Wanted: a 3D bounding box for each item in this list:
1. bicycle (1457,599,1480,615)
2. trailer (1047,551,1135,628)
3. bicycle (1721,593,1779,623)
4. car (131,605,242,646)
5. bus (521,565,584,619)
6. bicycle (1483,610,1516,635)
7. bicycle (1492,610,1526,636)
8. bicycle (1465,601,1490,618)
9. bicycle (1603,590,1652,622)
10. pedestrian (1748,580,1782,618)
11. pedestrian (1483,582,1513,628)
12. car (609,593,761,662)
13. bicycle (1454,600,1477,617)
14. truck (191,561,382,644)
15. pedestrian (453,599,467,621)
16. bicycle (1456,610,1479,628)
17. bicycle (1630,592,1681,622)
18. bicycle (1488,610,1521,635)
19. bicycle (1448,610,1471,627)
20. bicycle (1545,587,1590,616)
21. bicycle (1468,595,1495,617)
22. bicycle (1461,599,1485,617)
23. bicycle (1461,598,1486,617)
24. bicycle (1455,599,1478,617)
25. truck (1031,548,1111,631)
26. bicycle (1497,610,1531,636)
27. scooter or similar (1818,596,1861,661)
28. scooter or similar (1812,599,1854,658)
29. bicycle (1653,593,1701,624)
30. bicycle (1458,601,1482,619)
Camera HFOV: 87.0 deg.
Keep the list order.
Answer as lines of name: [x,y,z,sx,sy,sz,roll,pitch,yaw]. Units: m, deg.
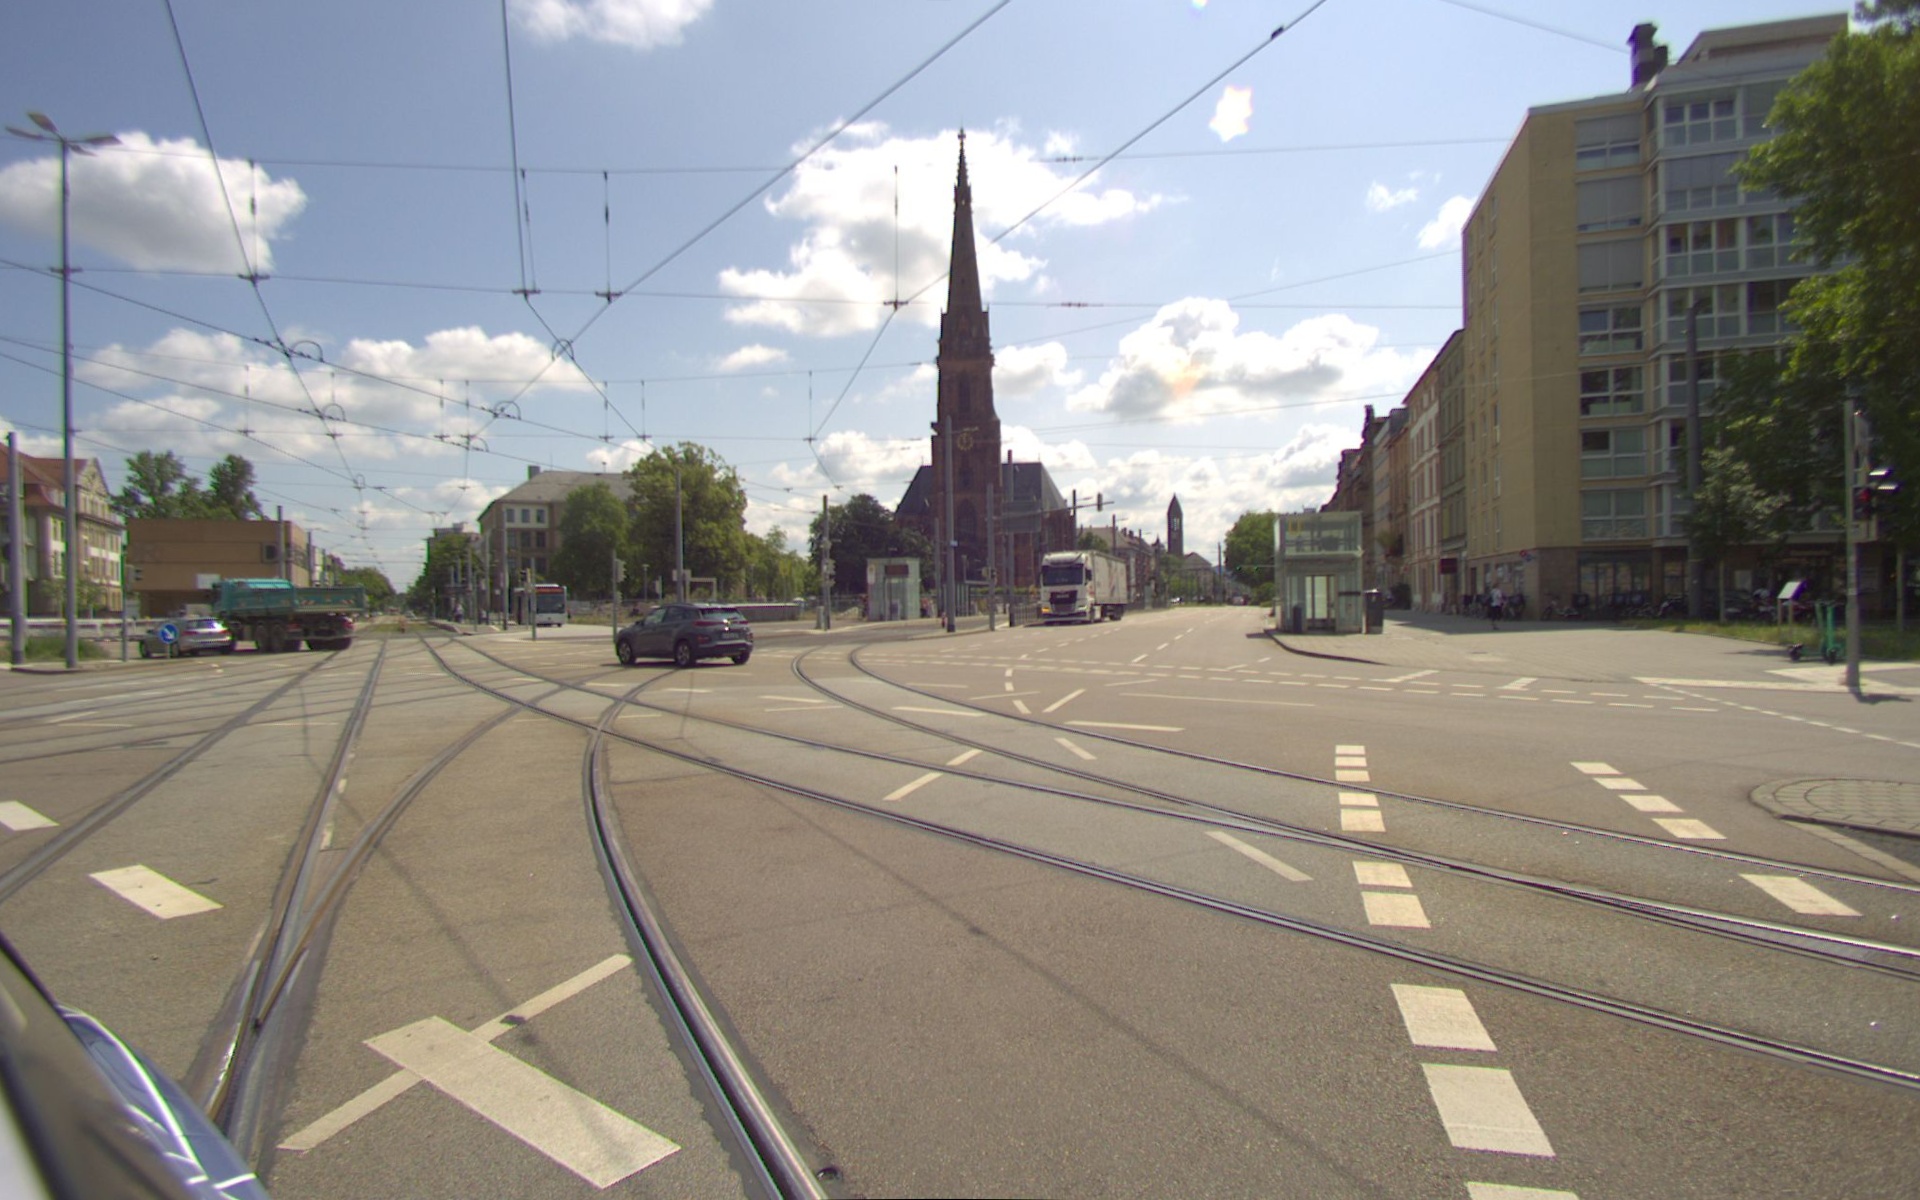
bicycle: [27.562,0.384,54.855,1.055,0.856,0.377,-1,-1,14]
trailer: [8.248,-0.591,61.562,2.924,4.107,13.341,-1,0,18]
bicycle: [28.909,0.290,37.046,1.589,1.074,0.490,-1,0,19]
car: [-28.718,0.968,37.553,4.324,1.426,1.835,-2,-2,31]
bus: [-27.913,-0.489,69.171,2.901,3.473,7.971,0,-1,-30]
bicycle: [25.658,1.065,48.155,1.261,1.154,0.457,-1,-1,15]
bicycle: [25.286,1.049,46.617,1.261,1.154,0.457,-1,-1,15]
bicycle: [26.019,0.468,50.862,1.055,0.830,0.376,-1,-1,15]
bicycle: [27.569,0.250,41.791,1.589,1.274,0.490,-1,0,19]
pedestrian: [28.869,-0.026,36.298,0.753,1.336,0.560,-1,0,14]
pedestrian: [18.732,0.166,35.248,0.875,1.572,0.717,-1,-1,26]
car: [-6.941,0.627,25.324,4.108,1.572,1.789,1,0,43]
bicycle: [28.185,0.460,56.404,1.055,0.945,0.377,-1,-1,14]
truck: [-27.166,0.183,40.679,8.710,3.021,3.318,-2,-1,34]
pedestrian: [-42.810,0.862,86.663,0.896,1.836,1.024,1,-1,-32]
bicycle: [27.732,1.042,55.273,1.055,0.945,0.377,-1,-1,14]
bicycle: [27.926,0.276,40.675,1.589,1.176,0.490,-1,0,19]
bicycle: [25.521,1.060,47.462,1.261,1.154,0.457,-1,-1,15]
bicycle: [28.464,1.077,57.679,1.055,0.945,0.377,-1,-1,14]
bicycle: [26.765,0.068,44.606,1.589,1.274,0.490,-1,0,19]
bicycle: [25.935,0.315,50.325,1.149,1.083,0.306,-1,-1,15]
bicycle: [26.888,0.419,53.039,1.055,0.945,0.376,-1,-1,15]
bicycle: [26.484,0.398,52.194,1.055,0.945,0.376,-1,-1,15]
bicycle: [27.872,0.456,55.683,1.055,0.945,0.377,-1,-1,14]
truck: [6.168,-0.534,55.046,2.940,4.150,6.838,-1,0,18]
bicycle: [25.115,1.045,45.892,1.261,1.154,0.457,-1,-1,15]
scooter or similar: [16.572,0.533,19.068,0.455,1.209,0.550,0,-1,-42]
scooter or similar: [16.954,0.543,19.649,0.410,1.133,0.557,0,-1,-42]
bicycle: [30.716,0.372,43.377,1.589,1.274,0.490,-1,0,19]
bicycle: [27.419,0.524,54.432,1.055,0.945,0.376,-1,-1,15]
